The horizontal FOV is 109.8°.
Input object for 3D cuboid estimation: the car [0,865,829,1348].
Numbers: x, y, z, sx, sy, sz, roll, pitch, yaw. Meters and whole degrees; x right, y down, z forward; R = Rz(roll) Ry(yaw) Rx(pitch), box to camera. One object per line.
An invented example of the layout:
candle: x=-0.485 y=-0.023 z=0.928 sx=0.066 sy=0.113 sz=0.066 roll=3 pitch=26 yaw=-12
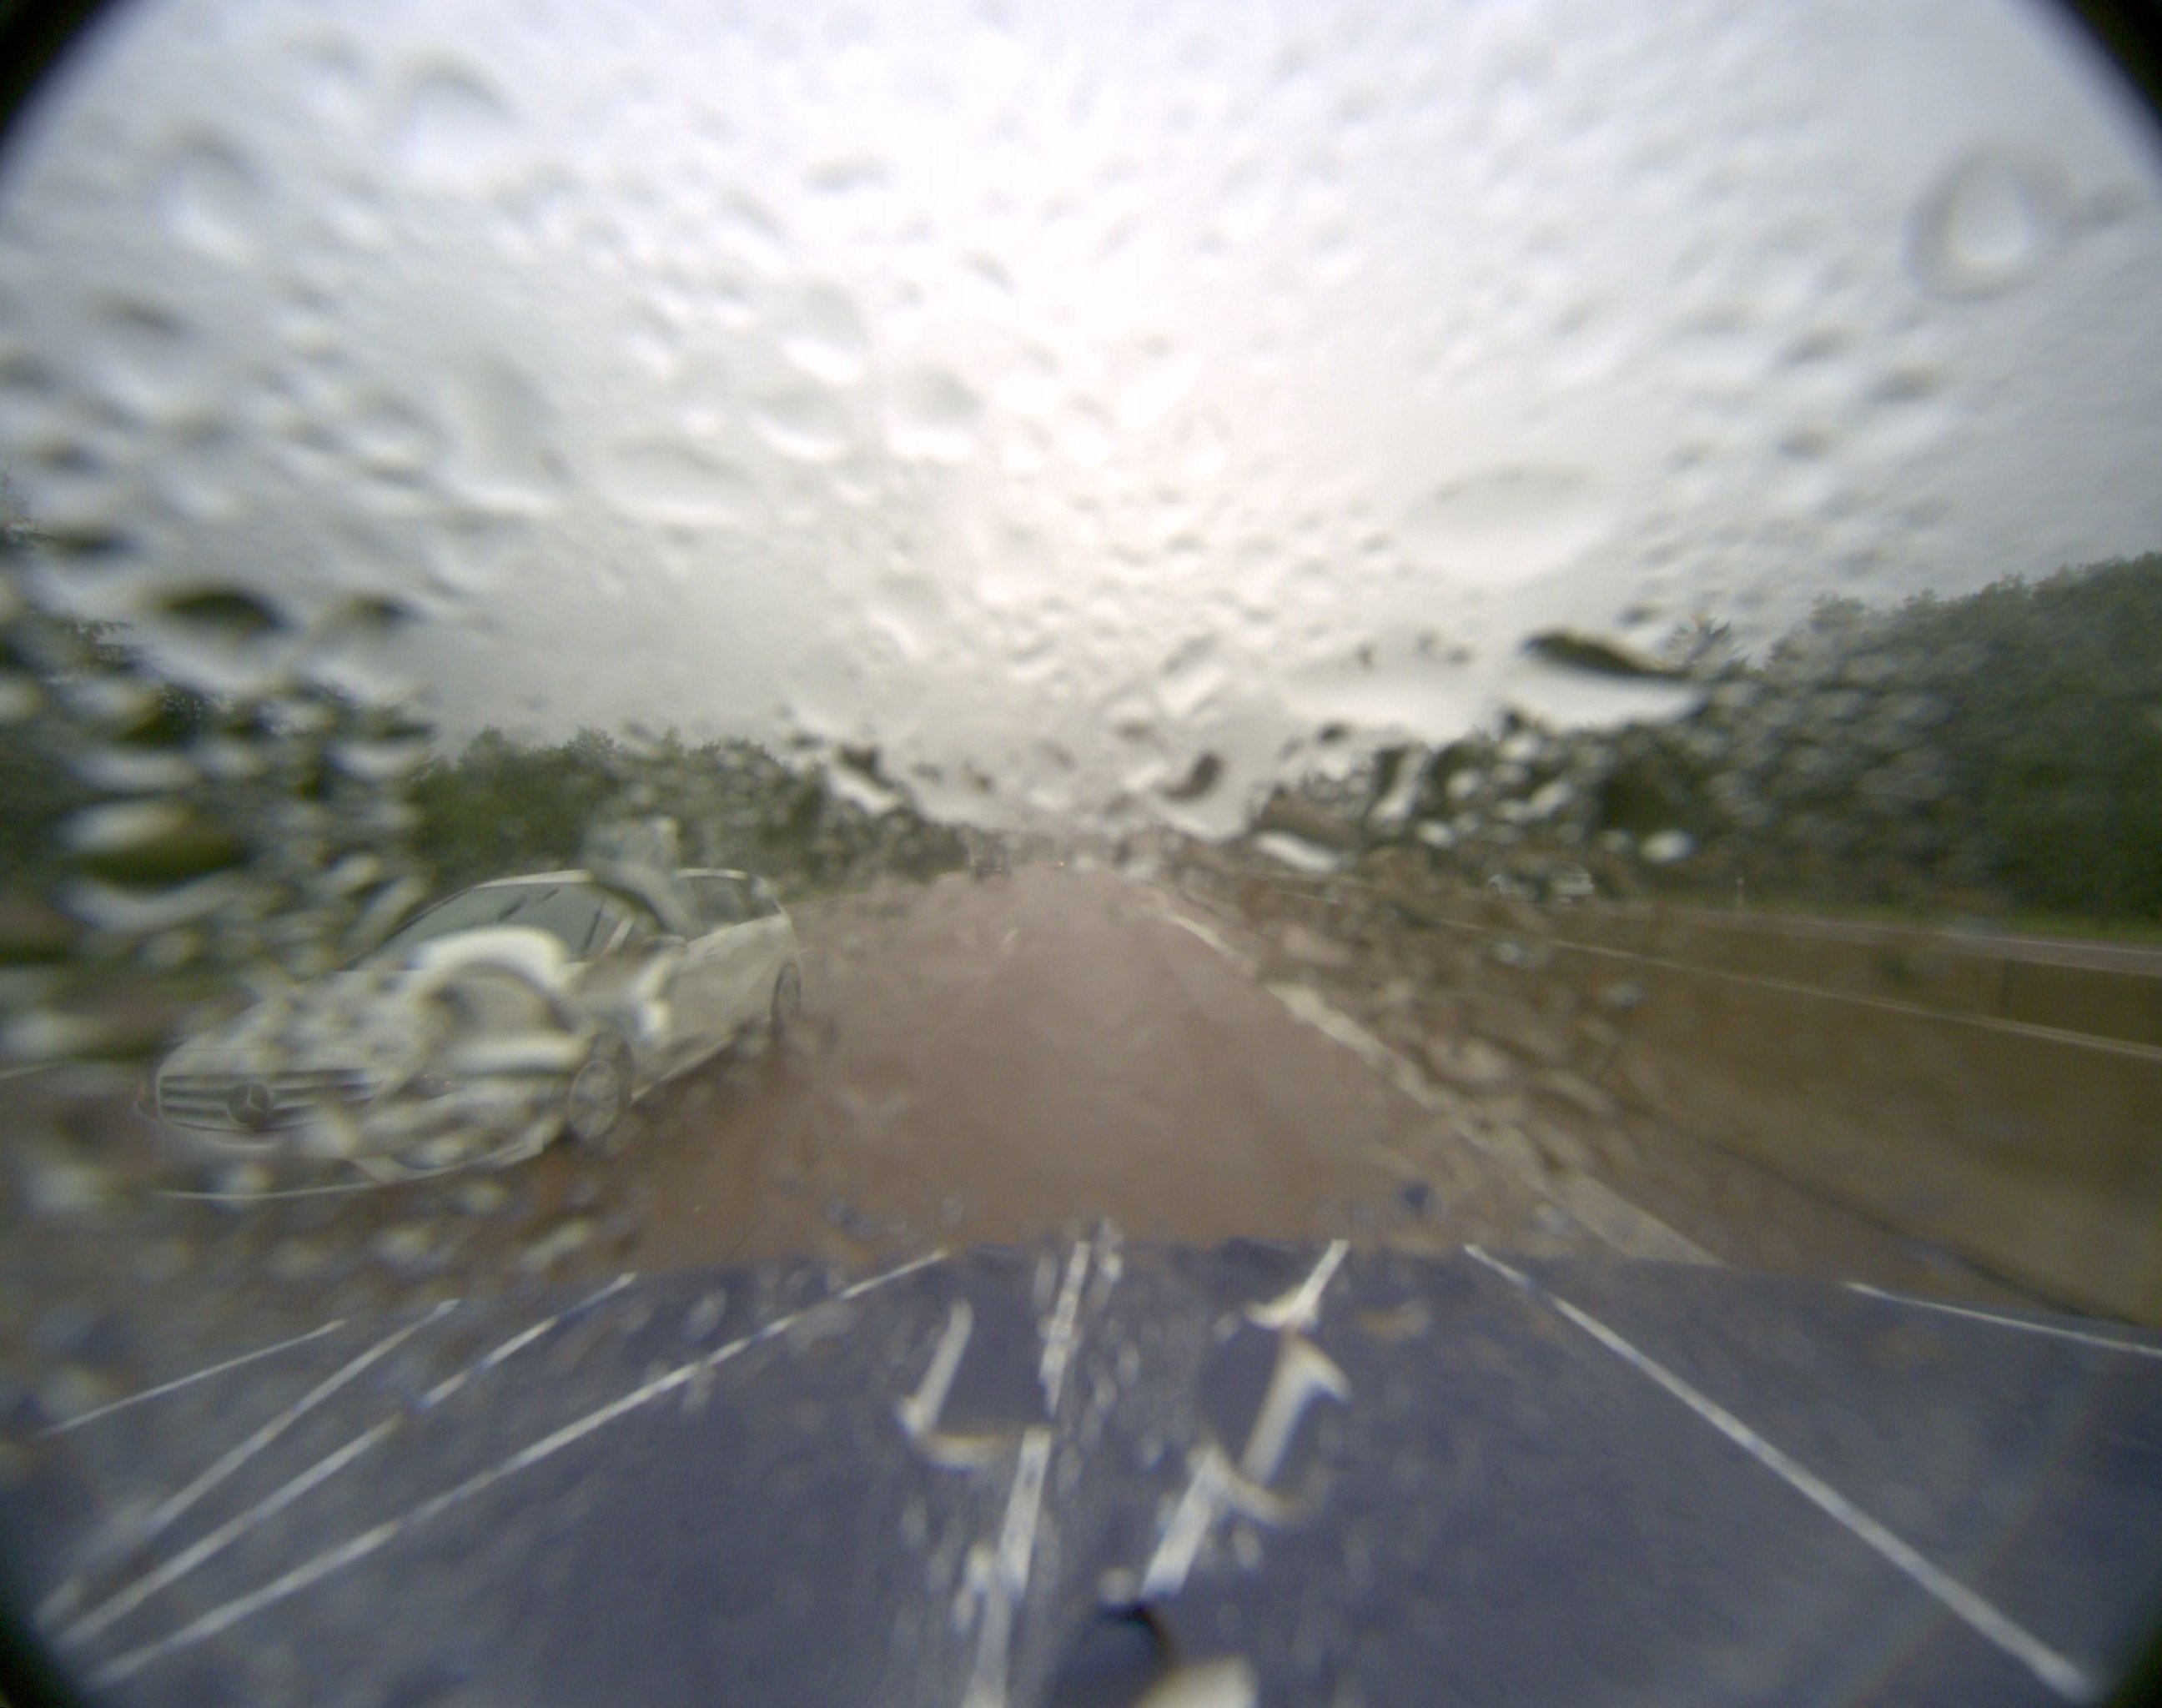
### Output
car: x=-3.505 y=1.019 z=5.313 sx=1.813 sy=1.718 sz=4.743 roll=-3 pitch=0 yaw=0

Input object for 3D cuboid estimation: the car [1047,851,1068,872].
car: x=-2.449 y=0.757 z=80.696 sx=1.999 sy=2.002 sz=4.276 roll=-3 pitch=0 yaw=0

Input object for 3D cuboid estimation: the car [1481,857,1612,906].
car: x=15.982 y=0.875 z=26.426 sx=1.758 sy=1.471 sz=4.583 roll=2 pitch=0 yaw=1

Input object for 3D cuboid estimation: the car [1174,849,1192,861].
car: x=13.527 y=0.131 z=100.944 sx=1.813 sy=1.622 sz=4.505 roll=1 pitch=0 yaw=1

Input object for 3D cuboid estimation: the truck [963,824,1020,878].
truck: x=-6.736 y=-0.236 z=58.521 sx=3.242 sy=3.708 sz=7.954 roll=-2 pitch=0 yaw=1
